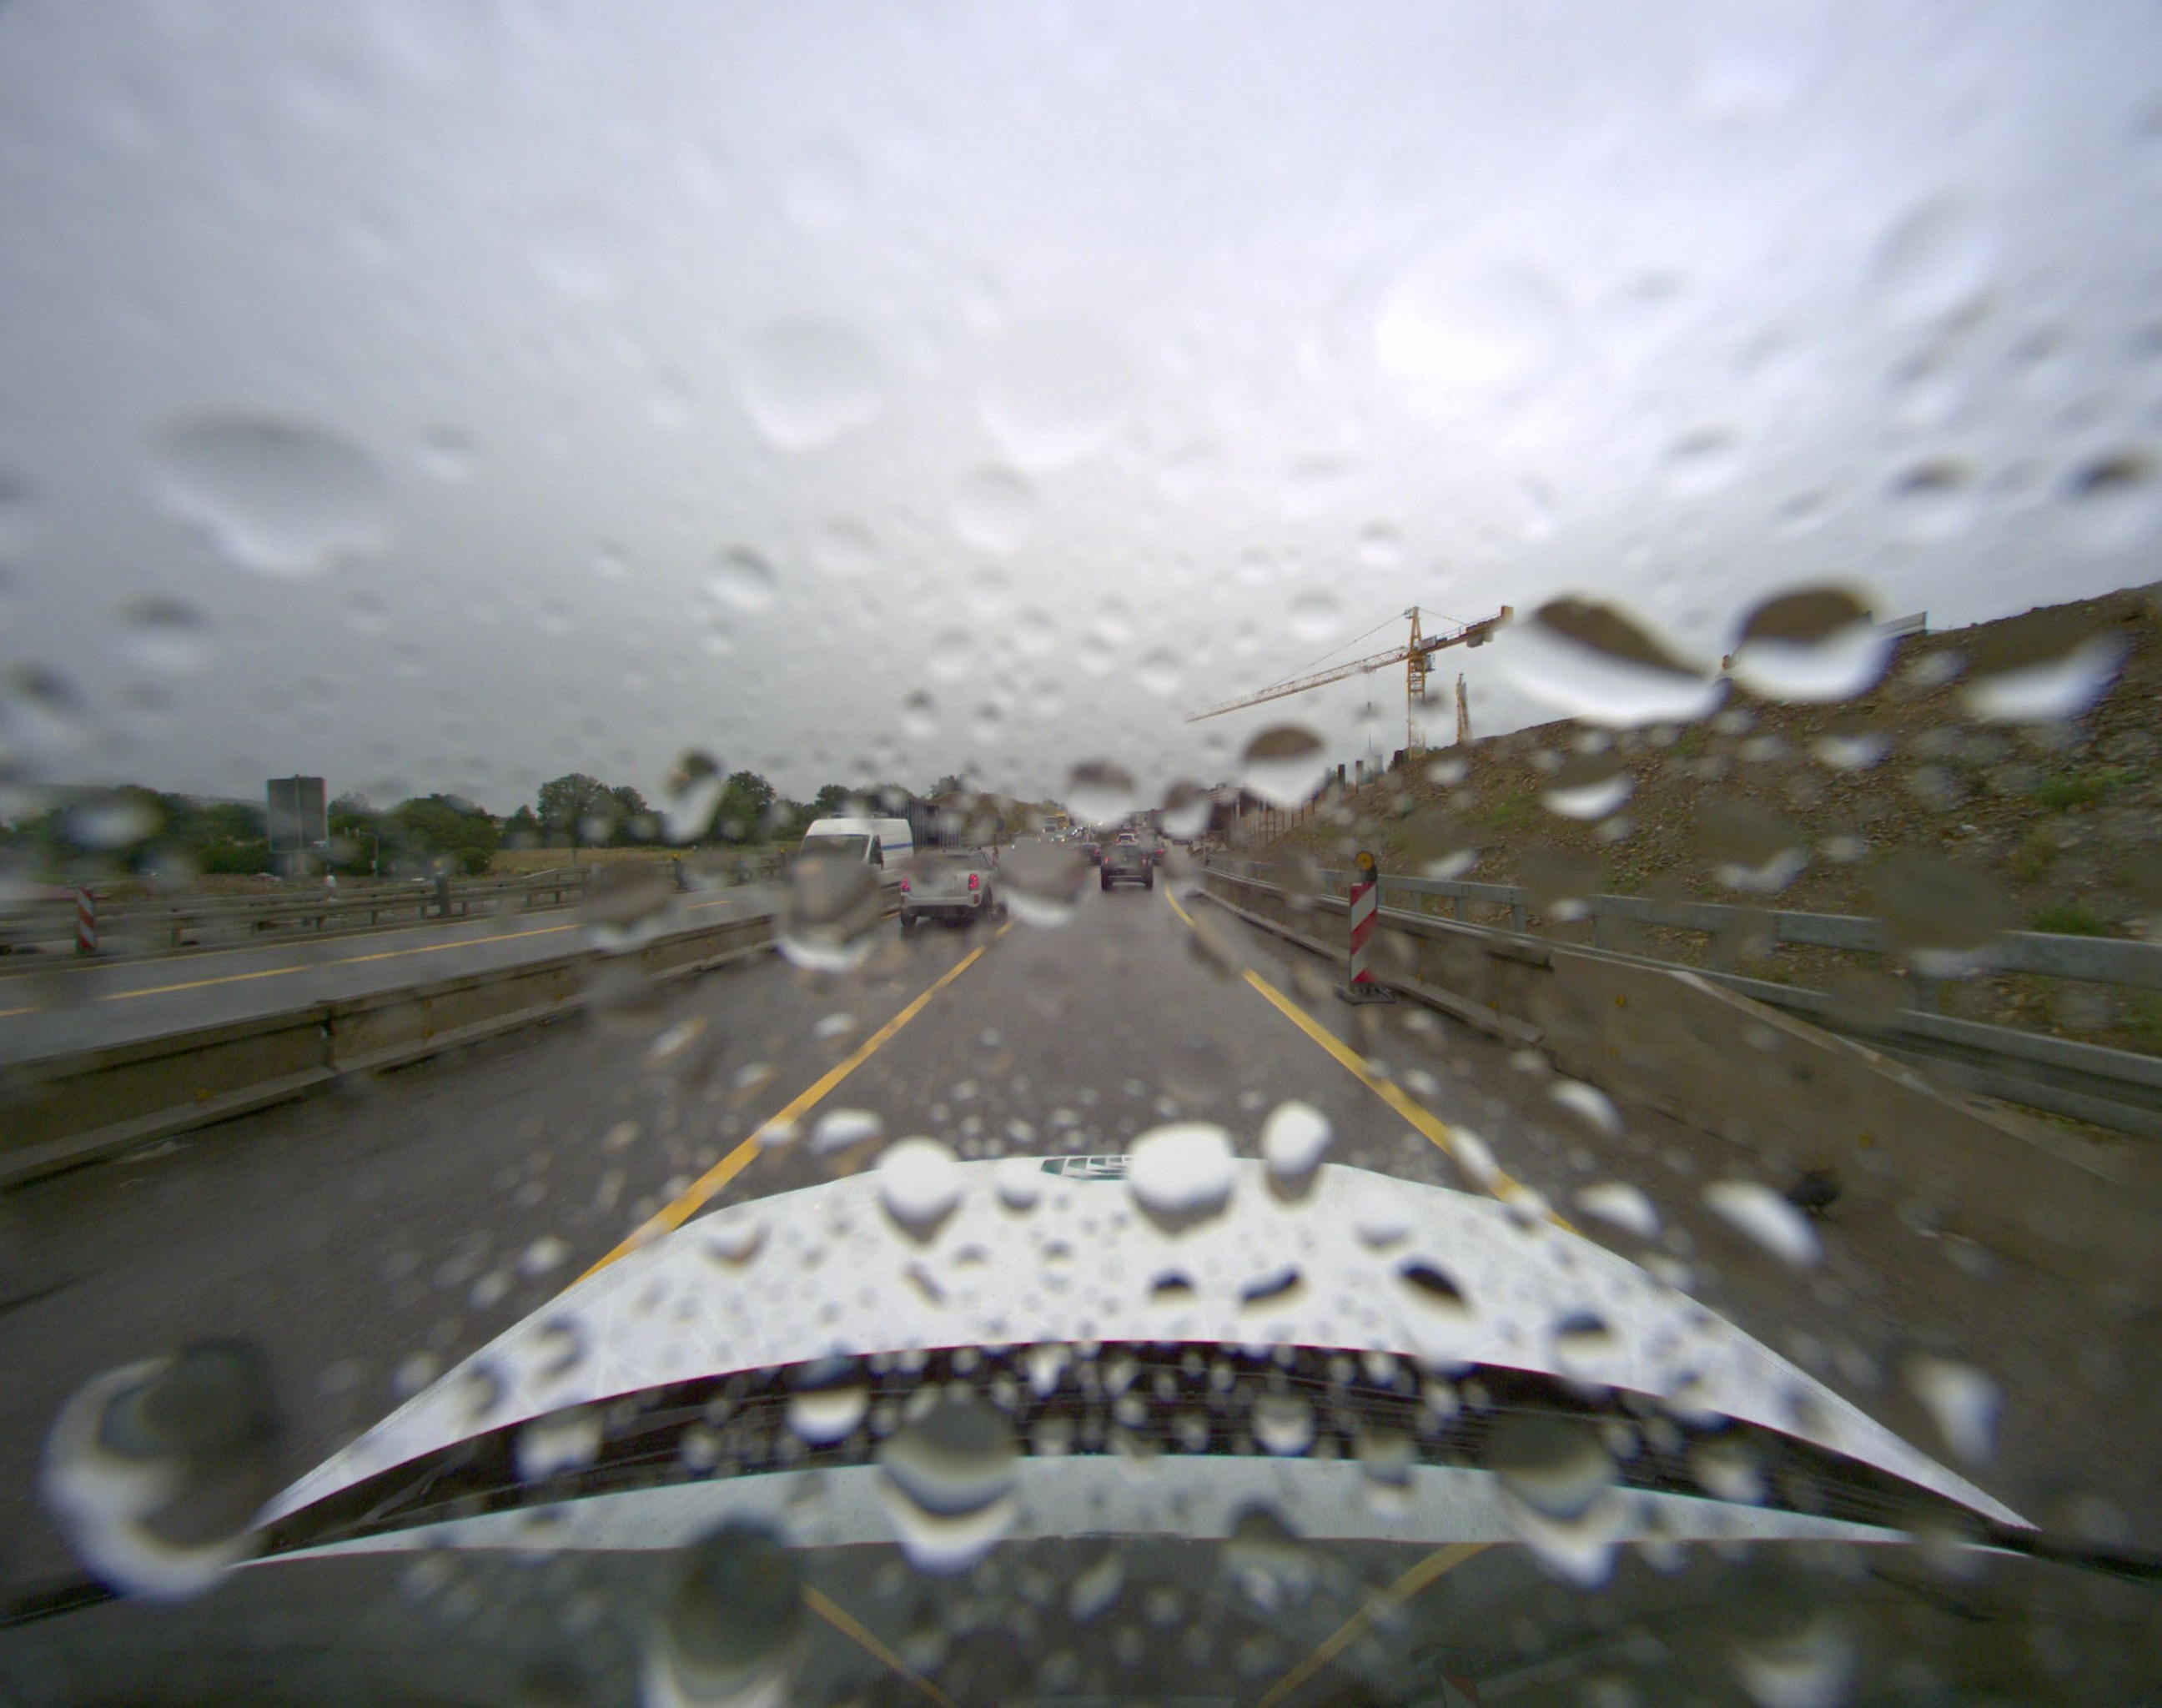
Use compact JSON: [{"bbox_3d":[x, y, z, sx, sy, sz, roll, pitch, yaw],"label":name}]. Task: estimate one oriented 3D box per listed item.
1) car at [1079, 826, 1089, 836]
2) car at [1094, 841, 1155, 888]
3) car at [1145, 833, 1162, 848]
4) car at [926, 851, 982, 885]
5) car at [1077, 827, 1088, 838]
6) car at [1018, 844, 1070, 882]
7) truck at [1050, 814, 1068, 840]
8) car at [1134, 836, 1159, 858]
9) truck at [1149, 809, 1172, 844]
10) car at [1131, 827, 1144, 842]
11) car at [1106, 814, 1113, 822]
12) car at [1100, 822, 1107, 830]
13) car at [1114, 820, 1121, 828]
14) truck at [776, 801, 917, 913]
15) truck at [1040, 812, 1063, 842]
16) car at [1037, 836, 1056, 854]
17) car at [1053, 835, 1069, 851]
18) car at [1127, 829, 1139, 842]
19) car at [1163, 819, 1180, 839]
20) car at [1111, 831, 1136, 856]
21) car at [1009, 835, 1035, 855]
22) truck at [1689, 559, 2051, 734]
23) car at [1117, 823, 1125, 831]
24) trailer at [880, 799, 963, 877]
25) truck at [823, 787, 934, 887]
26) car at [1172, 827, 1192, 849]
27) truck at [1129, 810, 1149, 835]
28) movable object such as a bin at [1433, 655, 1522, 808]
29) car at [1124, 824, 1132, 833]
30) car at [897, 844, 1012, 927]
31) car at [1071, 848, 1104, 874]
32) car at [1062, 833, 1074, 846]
[{"bbox_3d":[0.829,-5.712,200.086,2.208,2.370,4.666,-1,0,2],"label":"car"},{"bbox_3d":[1.559,0.410,30.111,2.073,1.600,4.142,-1,-2,2],"label":"car"},{"bbox_3d":[9.330,-1.719,105.319,1.985,1.761,3.816,-1,-2,2],"label":"car"},{"bbox_3d":[-5.906,0.595,38.409,1.862,1.471,4.670,-1,0,0],"label":"car"},{"bbox_3d":[0.325,-4.909,185.153,2.230,2.358,4.880,-1,0,2],"label":"car"},{"bbox_3d":[-1.620,0.456,37.053,1.986,1.600,4.142,-1,-2,2],"label":"car"},{"bbox_3d":[-4.640,-5.660,174.004,3.129,5.417,8.528,-1,0,2],"label":"truck"},{"bbox_3d":[6.847,-0.698,84.528,1.980,2.163,4.153,-1,-2,12],"label":"car"},{"bbox_3d":[13.457,-4.517,137.056,3.083,5.426,9.465,-1,-2,9],"label":"truck"},{"bbox_3d":[9.255,-3.143,133.400,1.983,2.163,4.147,-1,-2,6],"label":"car"},{"bbox_3d":[8.812,-11.089,250.397,1.987,2.014,4.000,-1,-2,1],"label":"car"},{"bbox_3d":[6.573,-8.199,236.338,1.987,2.014,4.000,-1,-2,1],"label":"car"},{"bbox_3d":[10.329,-8.340,229.445,1.986,2.013,4.001,-2,0,1],"label":"car"},{"bbox_3d":[-6.385,0.063,23.038,2.140,2.713,6.016,-1,0,1],"label":"truck"},{"bbox_3d":[-4.984,-4.529,138.892,3.071,4.919,8.569,-1,0,2],"label":"truck"},{"bbox_3d":[-3.852,-0.940,90.759,1.779,1.810,4.500,-1,-2,1],"label":"car"},{"bbox_3d":[-2.536,-1.402,104.929,1.779,1.810,4.500,-1,-2,1],"label":"car"},{"bbox_3d":[9.269,-3.259,144.741,1.986,2.163,4.141,-1,-2,1],"label":"car"},{"bbox_3d":[12.811,-3.559,115.114,1.986,2.484,4.983,-1,-2,2],"label":"car"},{"bbox_3d":[3.713,-0.890,71.038,1.987,2.014,3.893,-1,-2,1],"label":"car"},{"bbox_3d":[-5.079,-0.771,70.975,1.731,1.684,5.554,0,1,1],"label":"car"},{"bbox_3d":[19.690,-5.010,21.133,2.636,2.555,6.984,-1,-2,1],"label":"truck"},{"bbox_3d":[9.954,-6.701,202.450,1.986,2.013,4.001,-2,0,1],"label":"car"},{"bbox_3d":[-8.892,-0.871,46.667,2.737,3.970,9.674,-1,1,0],"label":"trailer"},{"bbox_3d":[-8.937,-0.732,37.215,2.633,3.970,9.213,-1,1,0],"label":"truck"},{"bbox_3d":[11.245,-1.748,90.880,1.985,2.163,4.143,-1,-2,3],"label":"car"},{"bbox_3d":[13.941,-7.552,196.719,3.791,5.043,12.920,-1,-2,1],"label":"truck"},{"bbox_3d":[32.961,-9.780,68.401,4.683,10.843,10.345,-1,-2,16],"label":"movable object such as a bin"},{"bbox_3d":[10.605,-5.738,184.449,1.842,1.894,4.023,-1,-2,2],"label":"car"},{"bbox_3d":[-2.655,0.651,18.030,1.810,1.600,4.307,-1,-1,0],"label":"car"},{"bbox_3d":[0.390,0.489,52.512,1.987,1.600,4.139,-1,-2,0],"label":"car"},{"bbox_3d":[-2.059,-2.188,125.764,1.616,1.810,3.638,-1,-2,2],"label":"car"}]
